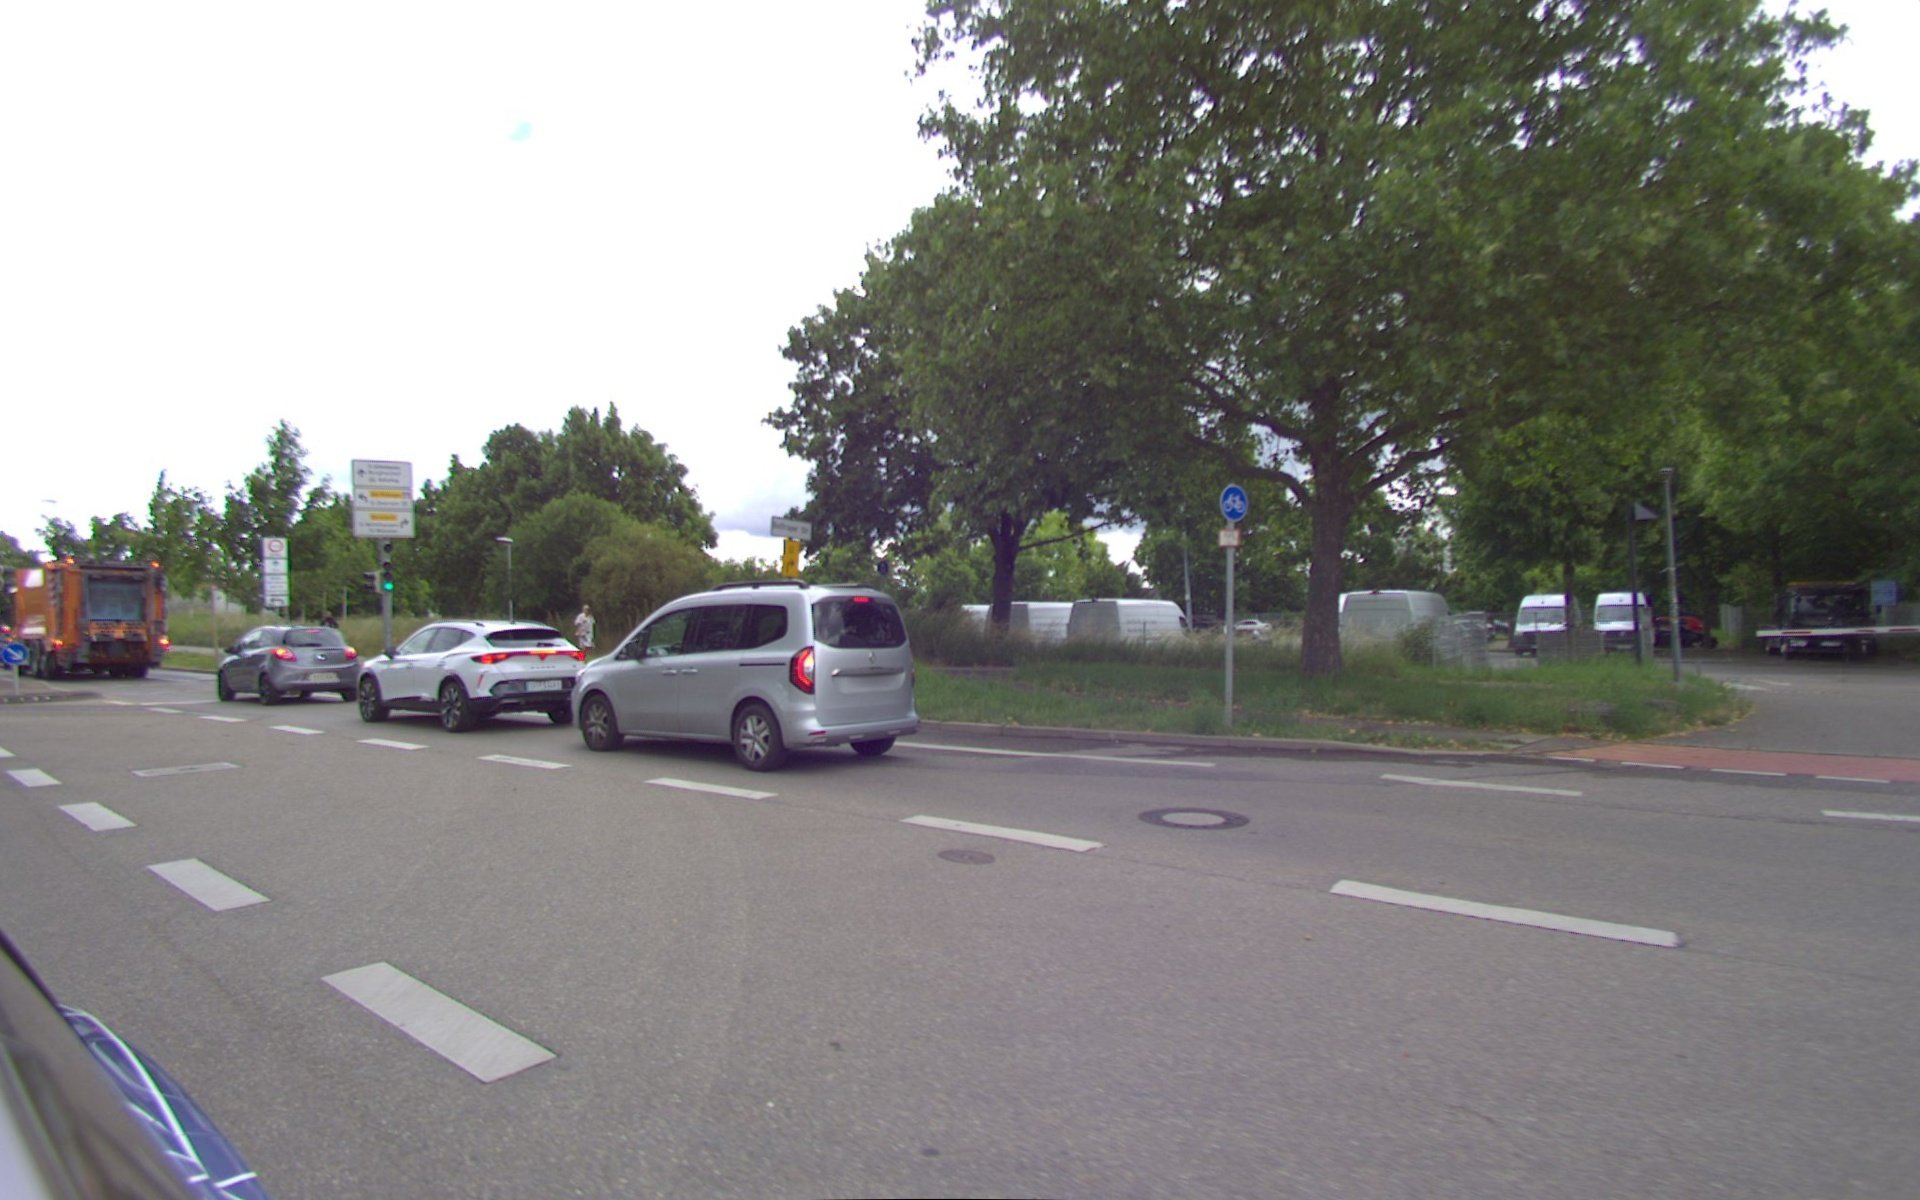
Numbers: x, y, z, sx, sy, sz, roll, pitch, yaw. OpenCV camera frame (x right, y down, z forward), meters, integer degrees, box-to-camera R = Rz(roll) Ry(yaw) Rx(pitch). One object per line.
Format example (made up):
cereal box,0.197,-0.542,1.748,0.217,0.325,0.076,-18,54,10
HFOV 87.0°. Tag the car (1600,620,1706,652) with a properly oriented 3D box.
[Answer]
car,32.397,1.648,47.427,3.990,1.421,1.977,-1,0,34

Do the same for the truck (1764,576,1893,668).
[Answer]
truck,31.255,0.706,36.682,2.703,2.992,6.721,-1,0,34

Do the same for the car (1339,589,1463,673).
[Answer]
car,11.917,0.855,27.113,2.008,2.029,5.237,-1,-2,36

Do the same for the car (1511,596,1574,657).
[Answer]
car,25.528,1.060,44.201,1.994,2.431,6.884,-1,0,33

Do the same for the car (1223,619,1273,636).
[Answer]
car,26.128,2.470,91.914,3.986,1.421,1.979,-1,0,31

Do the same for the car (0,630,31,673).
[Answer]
car,-37.986,2.023,39.963,3.349,1.630,1.571,-2,-2,41

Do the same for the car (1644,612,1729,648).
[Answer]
car,42.763,1.734,59.630,3.995,2.029,1.885,-1,0,38

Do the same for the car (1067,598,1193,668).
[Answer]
car,5.480,1.070,32.049,1.737,2.029,5.235,-1,-3,37

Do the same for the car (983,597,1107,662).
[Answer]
car,2.946,1.015,33.873,1.736,2.029,5.237,-1,-2,36

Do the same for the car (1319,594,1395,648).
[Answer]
car,19.641,0.959,49.885,1.995,2.431,6.881,-1,0,34

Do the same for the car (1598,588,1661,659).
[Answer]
car,27.983,0.890,42.384,1.994,2.706,6.884,-1,0,33

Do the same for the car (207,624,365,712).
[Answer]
car,-13.273,1.276,19.888,3.346,1.574,1.620,-2,-2,38

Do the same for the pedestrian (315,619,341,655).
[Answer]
pedestrian,-26.009,1.511,41.648,0.638,1.458,0.748,-1,0,37

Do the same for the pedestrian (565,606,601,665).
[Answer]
pedestrian,-11.383,1.051,30.564,0.636,1.750,0.750,-1,0,28

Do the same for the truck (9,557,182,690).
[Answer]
truck,-26.080,0.705,30.379,7.818,3.507,2.795,-2,-2,41

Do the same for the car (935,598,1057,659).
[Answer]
car,1.382,1.035,35.966,1.736,2.029,5.237,-1,-2,36

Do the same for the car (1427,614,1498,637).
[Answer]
car,32.394,1.644,65.262,3.986,1.421,1.979,-1,0,31

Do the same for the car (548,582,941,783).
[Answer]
car,-2.490,0.772,11.076,4.401,1.783,1.811,-2,-1,38

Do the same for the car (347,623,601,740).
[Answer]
car,-7.228,1.119,14.904,4.116,1.498,1.712,-2,-3,38
